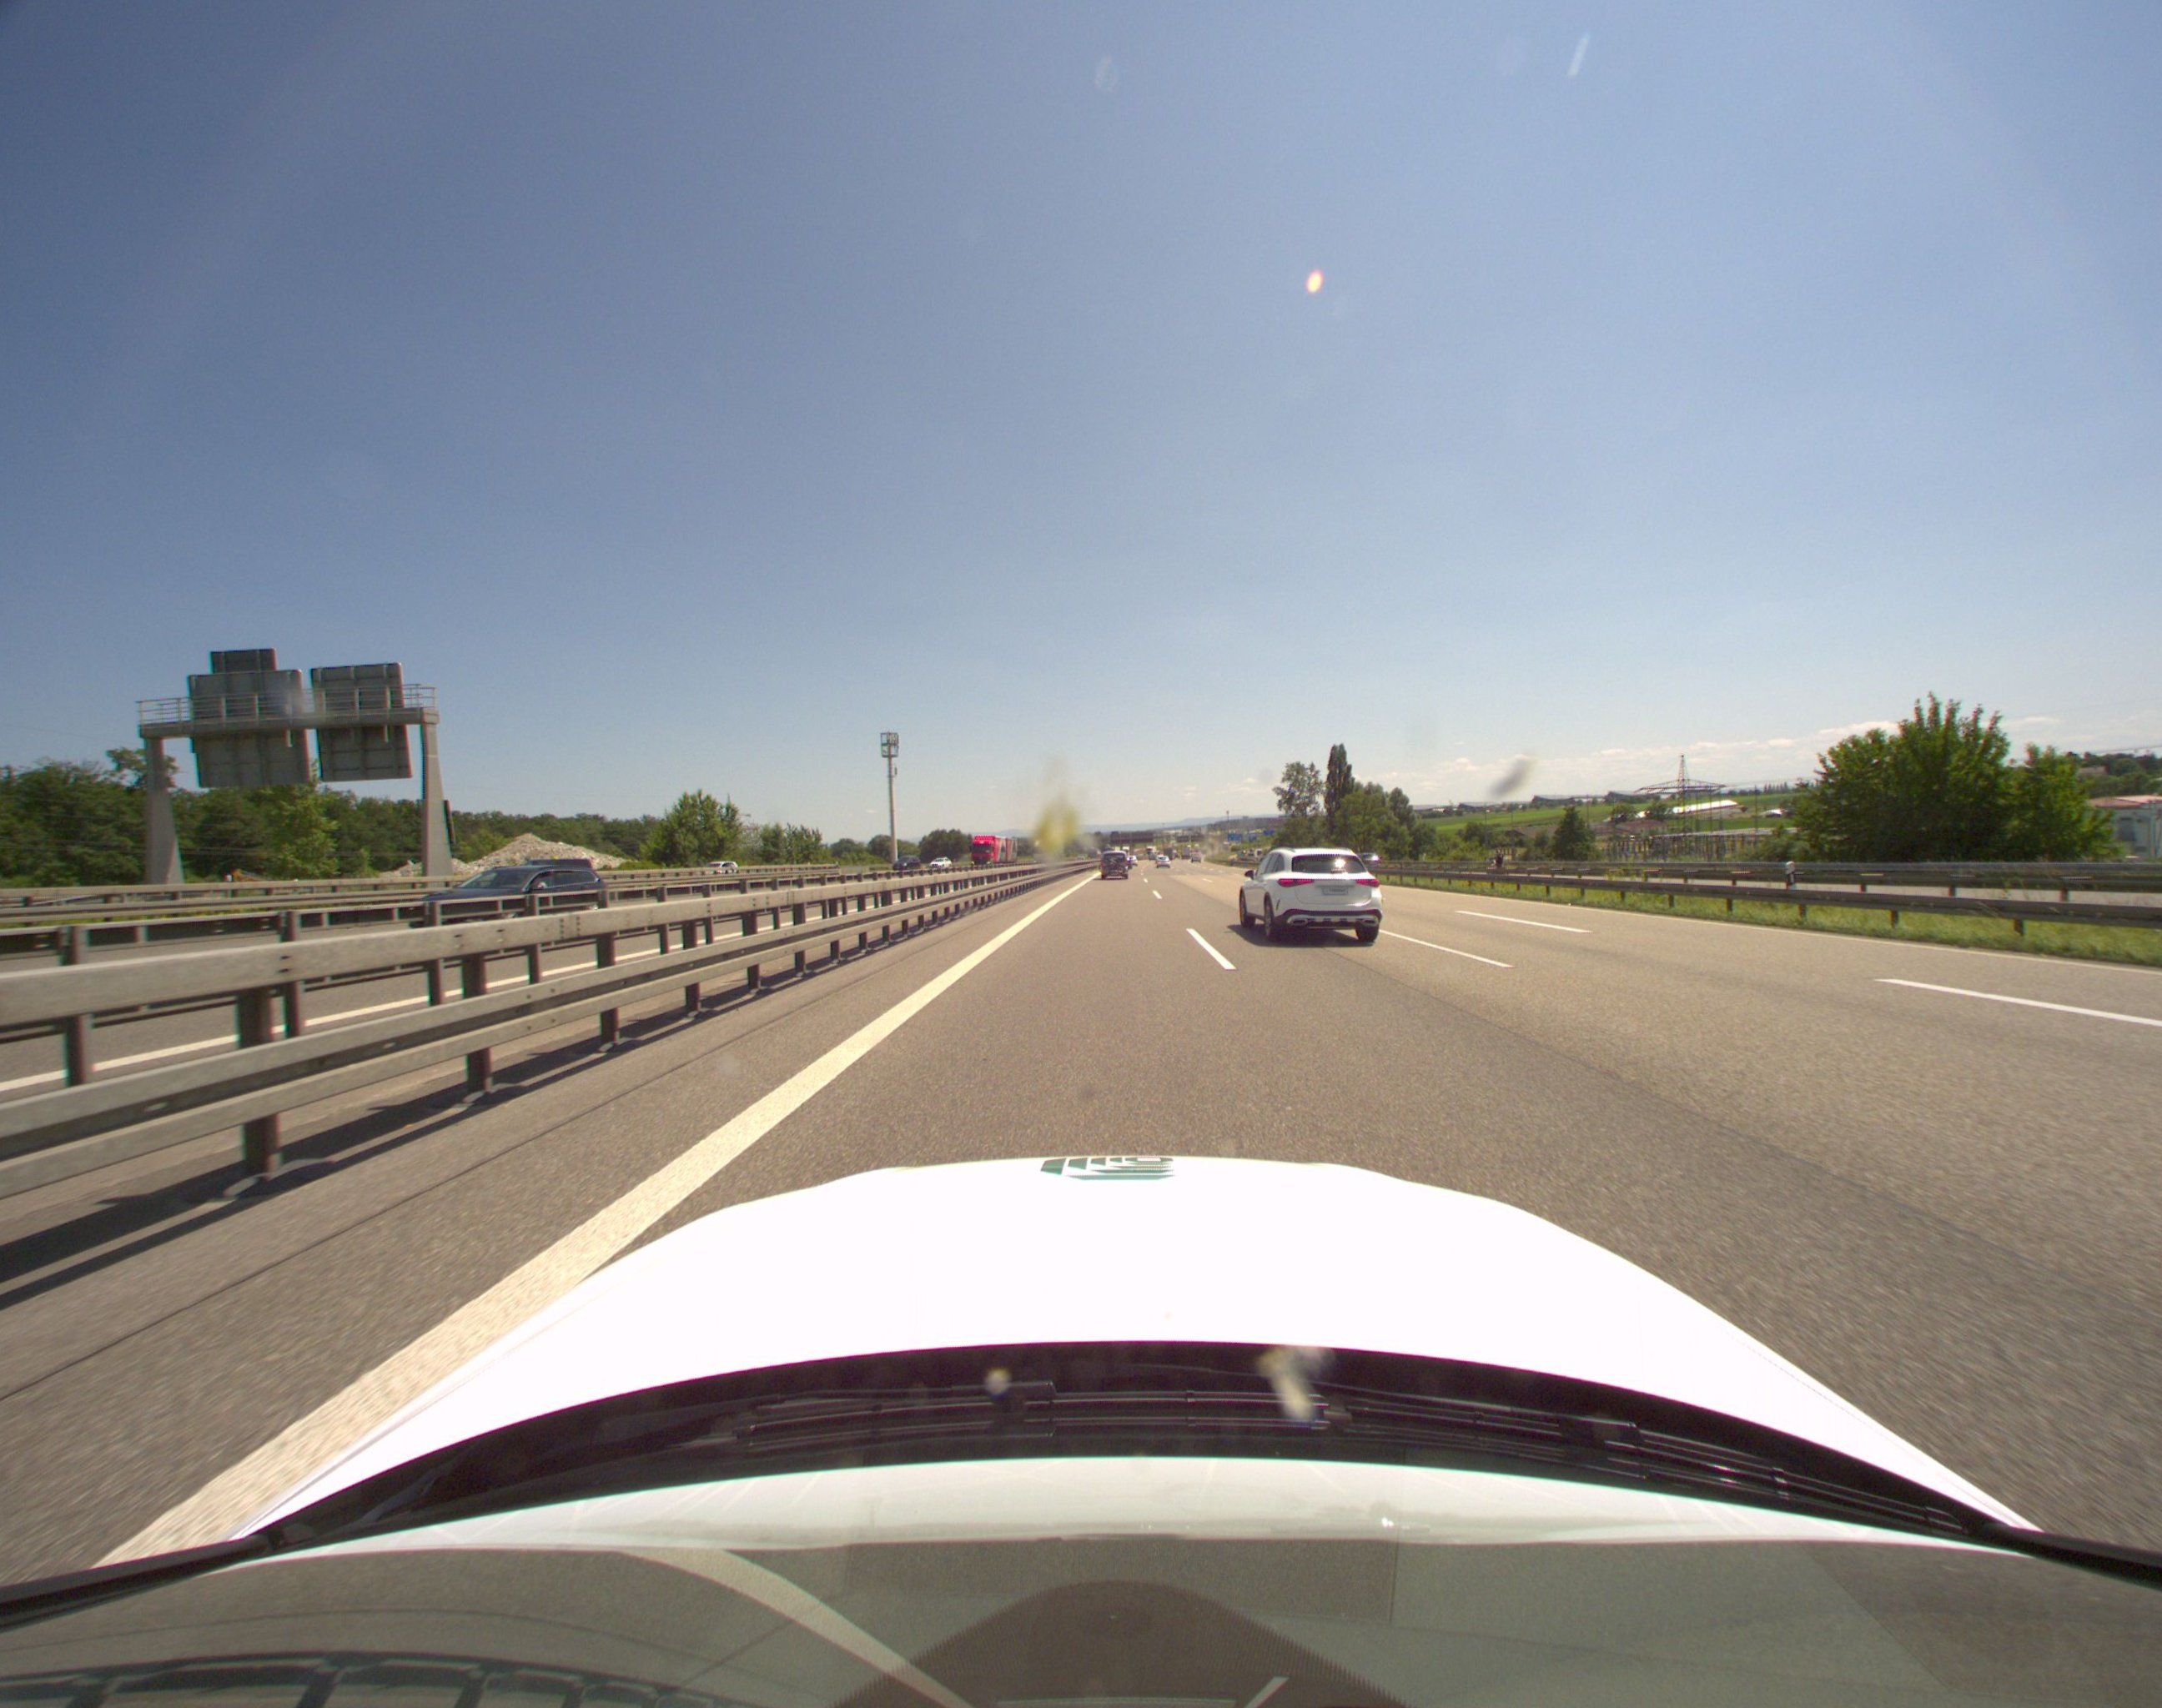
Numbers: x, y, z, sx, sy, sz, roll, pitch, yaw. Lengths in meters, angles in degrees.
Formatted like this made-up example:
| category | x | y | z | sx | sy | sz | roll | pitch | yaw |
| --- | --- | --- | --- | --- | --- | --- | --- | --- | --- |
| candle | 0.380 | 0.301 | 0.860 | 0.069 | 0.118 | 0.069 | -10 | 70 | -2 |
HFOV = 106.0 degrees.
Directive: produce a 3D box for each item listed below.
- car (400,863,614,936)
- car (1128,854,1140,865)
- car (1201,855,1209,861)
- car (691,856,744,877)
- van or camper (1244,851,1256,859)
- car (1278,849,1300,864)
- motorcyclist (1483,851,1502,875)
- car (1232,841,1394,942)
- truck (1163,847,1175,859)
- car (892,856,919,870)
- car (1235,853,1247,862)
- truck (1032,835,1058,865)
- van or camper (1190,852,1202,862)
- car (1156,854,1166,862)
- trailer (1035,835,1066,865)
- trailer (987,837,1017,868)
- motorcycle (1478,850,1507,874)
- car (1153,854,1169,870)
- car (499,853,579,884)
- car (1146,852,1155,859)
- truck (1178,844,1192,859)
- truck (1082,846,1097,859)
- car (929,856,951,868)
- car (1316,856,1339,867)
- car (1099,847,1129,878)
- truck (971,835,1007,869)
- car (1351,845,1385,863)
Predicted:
| category | x | y | z | sx | sy | sz | roll | pitch | yaw |
| --- | --- | --- | --- | --- | --- | --- | --- | --- | --- |
| car | -12.998 | 0.957 | 18.865 | 1.651 | 1.464 | 4.447 | 0 | 0 | 2 |
| car | 7.878 | 0.804 | 119.914 | 1.568 | 1.552 | 3.971 | 0 | 0 | 6 |
| car | 37.015 | 1.095 | 243.709 | 1.985 | 1.690 | 4.004 | 0 | 0 | 3 |
| car | -29.507 | 1.004 | 66.302 | 1.858 | 1.617 | 4.399 | 0 | 0 | 8 |
| van or camper | 43.586 | 0.315 | 210.196 | 2.517 | 2.014 | 4.467 | 0 | 0 | 5 |
| car | 28.358 | 0.337 | 111.136 | 1.932 | 1.923 | 4.179 | 0 | 0 | 0 |
| motorcyclist | 23.341 | 0.506 | 46.172 | 0.666 | 1.366 | 0.879 | 0 | -1 | 1 |
| car | 4.229 | 0.626 | 15.728 | 1.891 | 1.647 | 5.001 | 0 | 0 | 2 |
| truck | 23.281 | -0.264 | 215.149 | 2.686 | 3.109 | 10.688 | 0 | 0 | 10 |
| car | -20.307 | 1.026 | 94.193 | 2.004 | 1.581 | 4.004 | 0 | 0 | 4 |
| car | 35.531 | 0.846 | 180.551 | 1.986 | 2.014 | 4.001 | 0 | 0 | 1 |
| truck | -5.323 | -0.556 | 121.611 | 2.913 | 4.345 | 6.927 | 0 | 0 | 6 |
| van or camper | 23.332 | 0.560 | 165.095 | 2.146 | 2.014 | 4.310 | 0 | 0 | 5 |
| car | 15.169 | 0.718 | 154.142 | 1.972 | 1.473 | 4.006 | -1 | 0 | 6 |
| trailer | -4.670 | -0.555 | 128.135 | 2.931 | 4.342 | 14.643 | 0 | 0 | 6 |
| trailer | -10.681 | -0.172 | 111.161 | 2.547 | 4.105 | 8.726 | 0 | 0 | 5 |
| motorcycle | 23.342 | 0.446 | 46.241 | 0.757 | 1.366 | 1.870 | 0 | 0 | 2 |
| car | 10.010 | 1.023 | 102.347 | 1.918 | 1.919 | 4.522 | 0 | 0 | 4 |
| car | -32.387 | 0.840 | 48.787 | 1.860 | 1.744 | 4.006 | 0 | 0 | 5 |
| car | 18.913 | 0.369 | 220.741 | 2.175 | 2.003 | 4.007 | 0 | 0 | 6 |
| truck | 32.685 | -0.957 | 255.880 | 4.019 | 4.261 | 11.780 | 0 | 2 | 6 |
| truck | 2.419 | -0.379 | 234.281 | 3.203 | 3.785 | 12.919 | 0 | 0 | 5 |
| car | -19.790 | 1.135 | 114.274 | 2.082 | 1.581 | 4.006 | 0 | 0 | 5 |
| car | 31.151 | 0.953 | 103.107 | 1.694 | 1.277 | 3.998 | 0 | 0 | -1 |
| car | 2.177 | 0.547 | 53.648 | 1.919 | 1.919 | 4.951 | 0 | 0 | 2 |
| truck | -11.399 | -0.233 | 101.675 | 2.571 | 4.115 | 10.359 | 0 | 0 | 4 |
| car | 25.010 | 0.027 | 71.114 | 1.692 | 1.575 | 4.131 | 0 | 0 | 3 |
